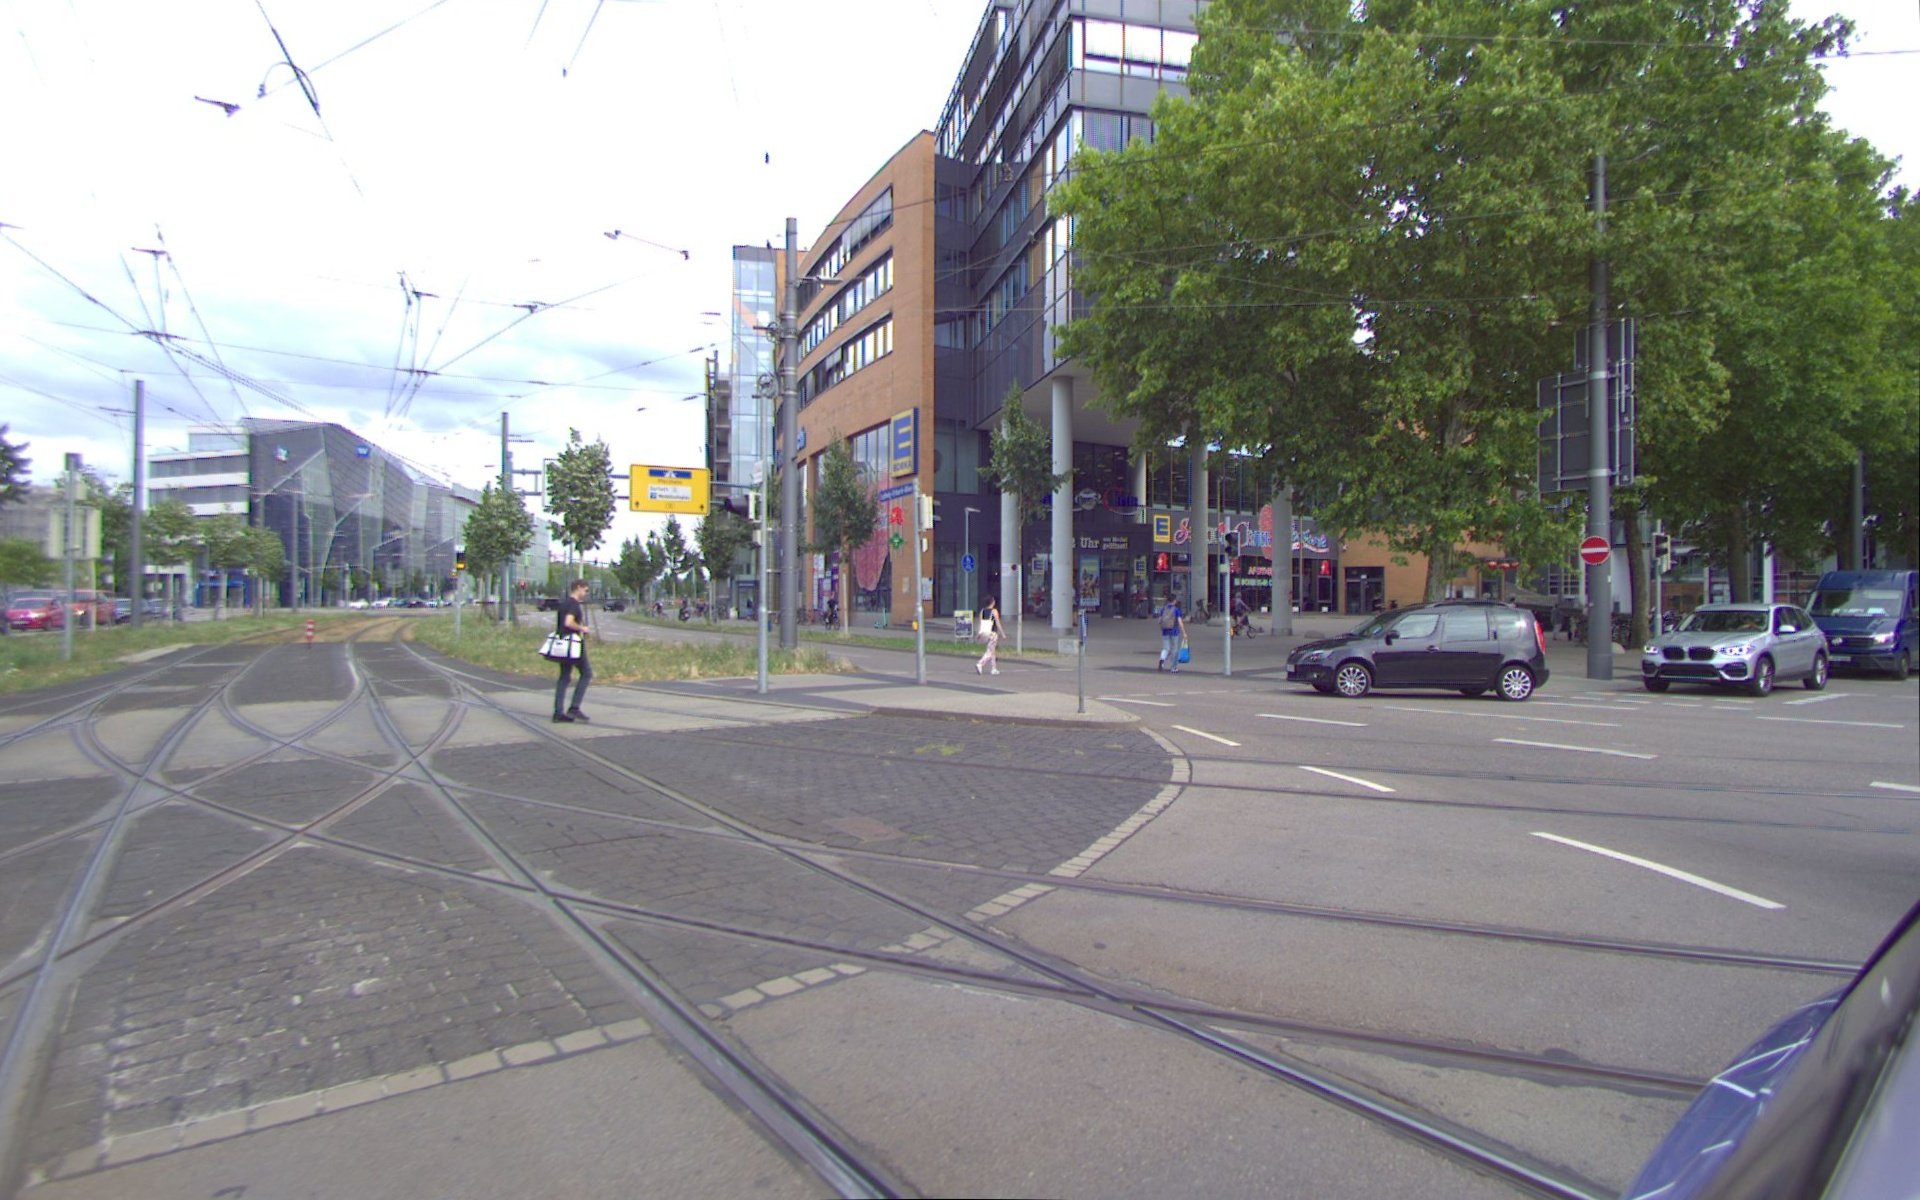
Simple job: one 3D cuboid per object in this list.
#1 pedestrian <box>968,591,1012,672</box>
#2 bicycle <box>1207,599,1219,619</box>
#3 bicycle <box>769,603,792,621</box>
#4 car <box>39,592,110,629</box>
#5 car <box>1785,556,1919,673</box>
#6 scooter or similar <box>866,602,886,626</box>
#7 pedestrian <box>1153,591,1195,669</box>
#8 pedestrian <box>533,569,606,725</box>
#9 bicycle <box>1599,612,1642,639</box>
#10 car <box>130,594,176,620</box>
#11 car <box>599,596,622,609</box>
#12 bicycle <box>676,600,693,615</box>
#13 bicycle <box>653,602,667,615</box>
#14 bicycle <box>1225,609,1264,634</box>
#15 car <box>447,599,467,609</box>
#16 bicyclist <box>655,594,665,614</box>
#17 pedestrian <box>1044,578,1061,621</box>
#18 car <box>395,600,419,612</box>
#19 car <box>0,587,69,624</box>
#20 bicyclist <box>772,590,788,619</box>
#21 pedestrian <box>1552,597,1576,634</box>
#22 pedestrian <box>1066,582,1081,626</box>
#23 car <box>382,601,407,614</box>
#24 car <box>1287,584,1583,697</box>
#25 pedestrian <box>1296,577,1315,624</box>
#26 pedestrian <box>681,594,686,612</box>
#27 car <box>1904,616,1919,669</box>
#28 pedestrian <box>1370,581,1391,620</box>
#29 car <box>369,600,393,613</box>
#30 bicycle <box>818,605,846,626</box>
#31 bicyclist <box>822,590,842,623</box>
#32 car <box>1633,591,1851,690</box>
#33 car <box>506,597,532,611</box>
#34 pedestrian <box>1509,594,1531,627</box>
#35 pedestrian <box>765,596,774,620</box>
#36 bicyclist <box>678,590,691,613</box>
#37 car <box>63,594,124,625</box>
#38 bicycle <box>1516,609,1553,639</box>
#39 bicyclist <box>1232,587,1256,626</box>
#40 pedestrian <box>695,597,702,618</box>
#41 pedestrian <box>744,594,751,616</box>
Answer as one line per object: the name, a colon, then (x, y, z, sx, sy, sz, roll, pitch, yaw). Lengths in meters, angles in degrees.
pedestrian: (0.623, 0.644, 21.144, 0.729, 1.672, 0.588, 0, 0, -30)
bicycle: (11.921, 0.421, 47.696, 0.528, 0.928, 1.557, 0, 0, 14)
bicycle: (-10.344, 0.675, 58.157, 0.625, 1.024, 2.007, 0, 0, -31)
car: (-43.069, 0.480, 49.328, 1.787, 1.688, 4.414, -1, 0, -30)
car: (22.470, 0.344, 24.469, 6.864, 2.487, 2.176, 1, -1, -36)
scooter or similar: (-4.205, 0.682, 50.394, 0.476, 1.182, 1.477, 0, 0, -26)
pedestrian: (4.874, 0.670, 23.073, 0.729, 1.754, 0.588, 0, 0, -30)
pedestrian: (-4.728, 0.543, 12.254, 0.657, 1.814, 0.678, 1, -1, -36)
bicycle: (23.150, 0.887, 35.471, 1.687, 0.928, 0.536, 0, 0, -28)
car: (-50.872, 0.407, 63.845, 1.675, 1.552, 4.003, -1, 0, -30)
car: (-45.507, 0.361, 131.785, 1.730, 1.640, 4.002, 0, 0, -3)
bicycle: (-19.806, 0.536, 72.660, 0.625, 1.024, 2.007, 0, 0, -31)
bicycle: (-22.081, 0.620, 74.469, 0.526, 0.946, 1.794, 0, 0, -31)
bicycle: (10.840, 0.806, 38.549, 1.509, 0.928, 0.536, 0, 0, -29)
car: (-85.961, 0.653, 173.063, 1.958, 1.772, 4.171, 1, 0, -11)
bicyclist: (-22.054, 0.271, 74.429, 0.523, 1.460, 0.844, 1, 0, -32)
pedestrian: (4.072, -0.033, 44.672, 0.617, 1.890, 0.670, 0, 0, 16)
car: (-81.533, 0.857, 149.269, 1.958, 1.772, 4.172, 1, 0, -13)
car: (-40.685, 0.224, 44.277, 1.787, 1.552, 4.004, 0, 0, -30)
bicyclist: (-10.348, 0.233, 58.173, 0.625, 1.636, 0.979, 0, 0, -31)
pedestrian: (25.410, 0.656, 42.602, 0.668, 1.530, 0.588, 0, 0, -27)
pedestrian: (4.945, 0.180, 44.072, 0.535, 1.890, 0.515, 1, -1, -5)
car: (-80.444, 1.042, 143.934, 1.958, 1.772, 4.172, 1, 0, -13)
car: (7.913, 0.649, 17.233, 4.106, 1.760, 1.962, 0, -1, 5)
pedestrian: (14.113, 0.034, 41.368, 0.504, 1.890, 0.547, 1, -1, -11)
pedestrian: (-24.825, 0.304, 90.847, 0.437, 1.619, 0.486, 0, 0, -22)
car: (28.661, 1.203, 28.764, 4.191, 1.436, 1.759, 0, 1, -34)
pedestrian: (19.131, 0.014, 46.100, 0.730, 1.754, 0.587, 0, 0, 5)
car: (-79.336, 0.910, 138.746, 1.958, 1.772, 4.172, 1, 0, -16)
bicycle: (-6.339, 0.762, 49.974, 0.625, 1.024, 2.007, 0, 0, -31)
bicyclist: (-6.313, 0.322, 49.969, 0.625, 1.636, 0.979, 1, -1, -31)
car: (14.972, 0.743, 19.314, 4.549, 1.683, 1.965, 1, -2, -35)
car: (-52.971, 0.477, 121.670, 1.729, 1.640, 4.004, 0, 0, -5)
pedestrian: (26.121, 0.473, 47.199, 0.668, 1.530, 0.589, 0, 0, -15)
pedestrian: (-12.859, 0.539, 68.266, 0.603, 1.619, 0.448, 0, 0, -14)
bicyclist: (-19.764, 0.093, 72.619, 0.625, 1.636, 0.979, 1, 0, -31)
car: (-46.012, 0.474, 53.815, 1.787, 1.552, 4.003, -1, 0, -30)
bicycle: (21.140, 0.871, 37.223, 1.691, 1.062, 0.595, 0, 0, -39)
bicyclist: (10.799, 0.240, 38.530, 0.723, 1.451, 0.532, 0, 0, -28)
pedestrian: (-20.385, 0.609, 78.870, 0.438, 1.620, 0.486, 1, -1, -31)
pedestrian: (-15.352, 0.355, 72.977, 0.475, 1.619, 0.448, 0, 0, -14)
